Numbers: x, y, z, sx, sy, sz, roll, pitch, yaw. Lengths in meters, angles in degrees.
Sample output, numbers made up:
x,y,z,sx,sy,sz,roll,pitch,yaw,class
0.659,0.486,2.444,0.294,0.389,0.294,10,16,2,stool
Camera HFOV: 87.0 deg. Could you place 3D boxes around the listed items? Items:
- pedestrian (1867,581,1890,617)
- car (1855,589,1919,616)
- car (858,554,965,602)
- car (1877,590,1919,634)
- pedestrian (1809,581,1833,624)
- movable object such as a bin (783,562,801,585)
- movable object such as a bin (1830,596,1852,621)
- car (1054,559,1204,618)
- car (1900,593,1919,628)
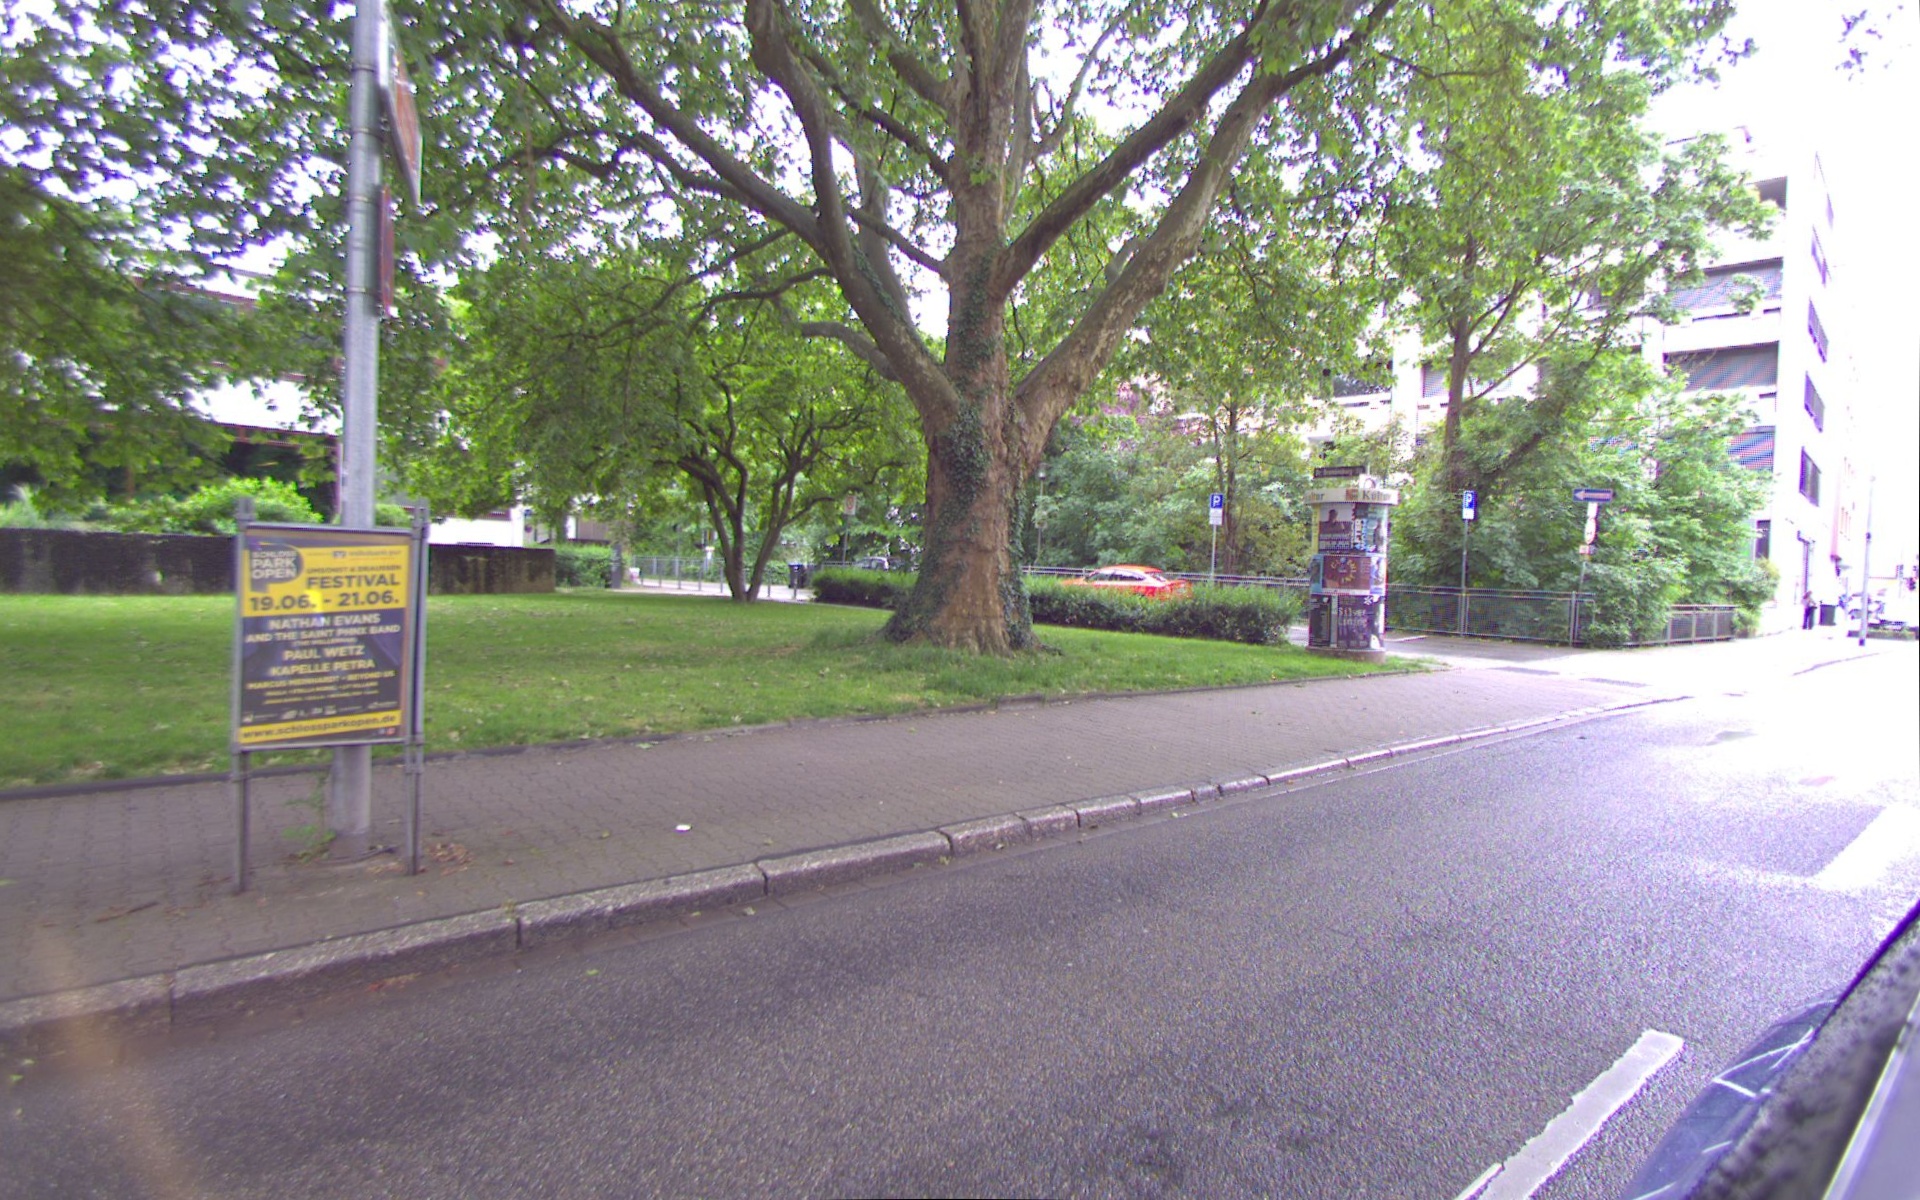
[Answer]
x,y,z,sx,sy,sz,roll,pitch,yaw,class
56.512,-0.095,62.297,0.797,2.179,0.732,2,1,26,pedestrian
64.175,0.185,69.292,1.770,1.604,4.155,0,3,-41,car
-1.822,-0.827,37.091,1.707,1.590,3.925,0,3,-45,car
37.491,0.457,39.828,3.741,1.577,1.705,0,4,-43,car
35.049,0.106,41.200,0.598,1.679,0.681,7,4,42,pedestrian
-7.182,-1.133,43.162,0.573,0.986,0.512,0,0,-41,movable object such as a bin
42.096,0.399,48.360,0.505,1.117,0.680,0,2,-42,movable object such as a bin
4.908,-0.391,29.745,3.989,1.499,1.847,5,5,44,car
42.591,0.488,44.204,4.493,1.437,1.834,0,3,-43,car
